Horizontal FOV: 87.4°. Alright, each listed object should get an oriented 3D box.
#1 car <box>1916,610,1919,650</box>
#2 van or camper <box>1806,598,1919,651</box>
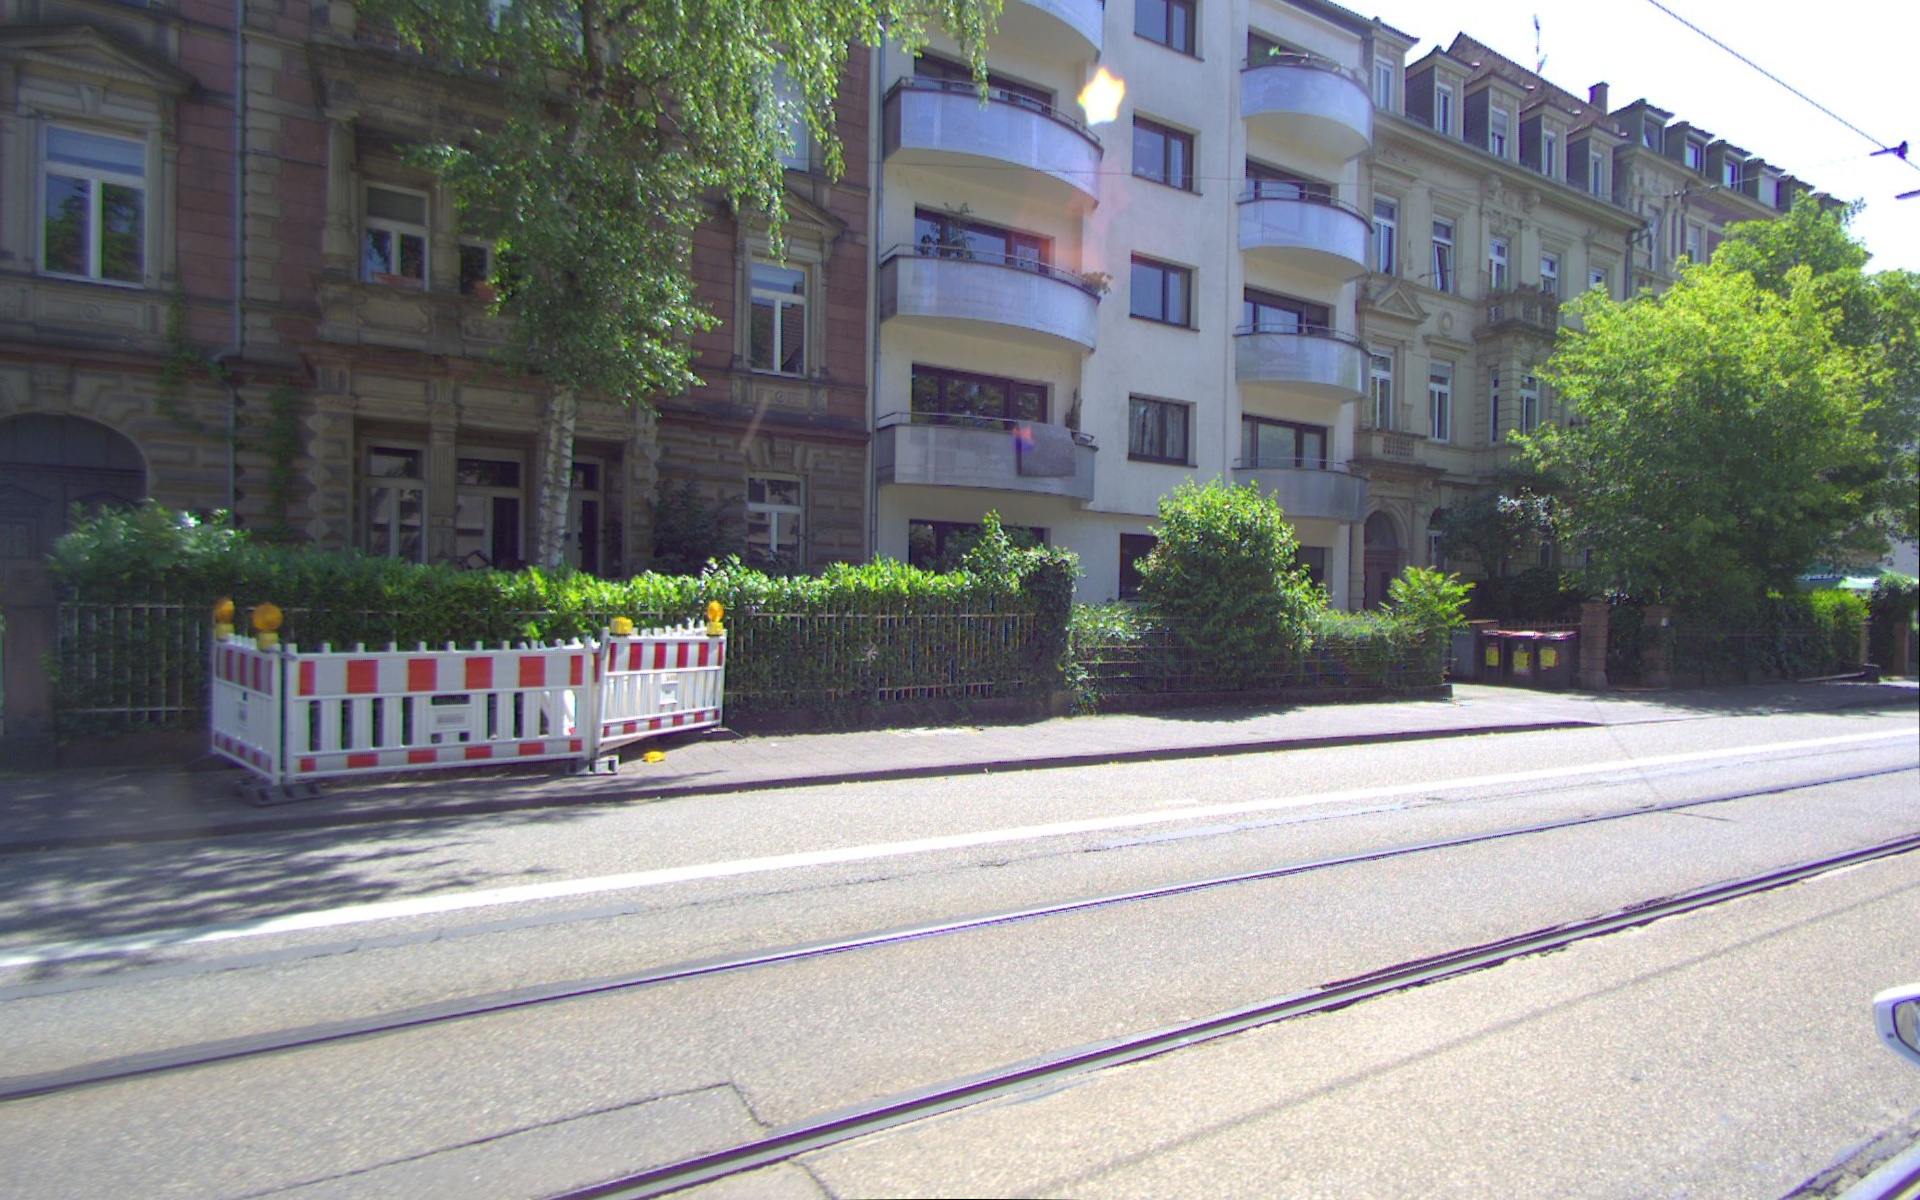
[{"bbox_3d":[47.133,1.474,45.985,1.965,1.929,4.484,2,0,-13],"label":"car"},{"bbox_3d":[39.685,1.081,43.606,4.714,2.148,1.996,2,1,-11],"label":"van or camper"}]
